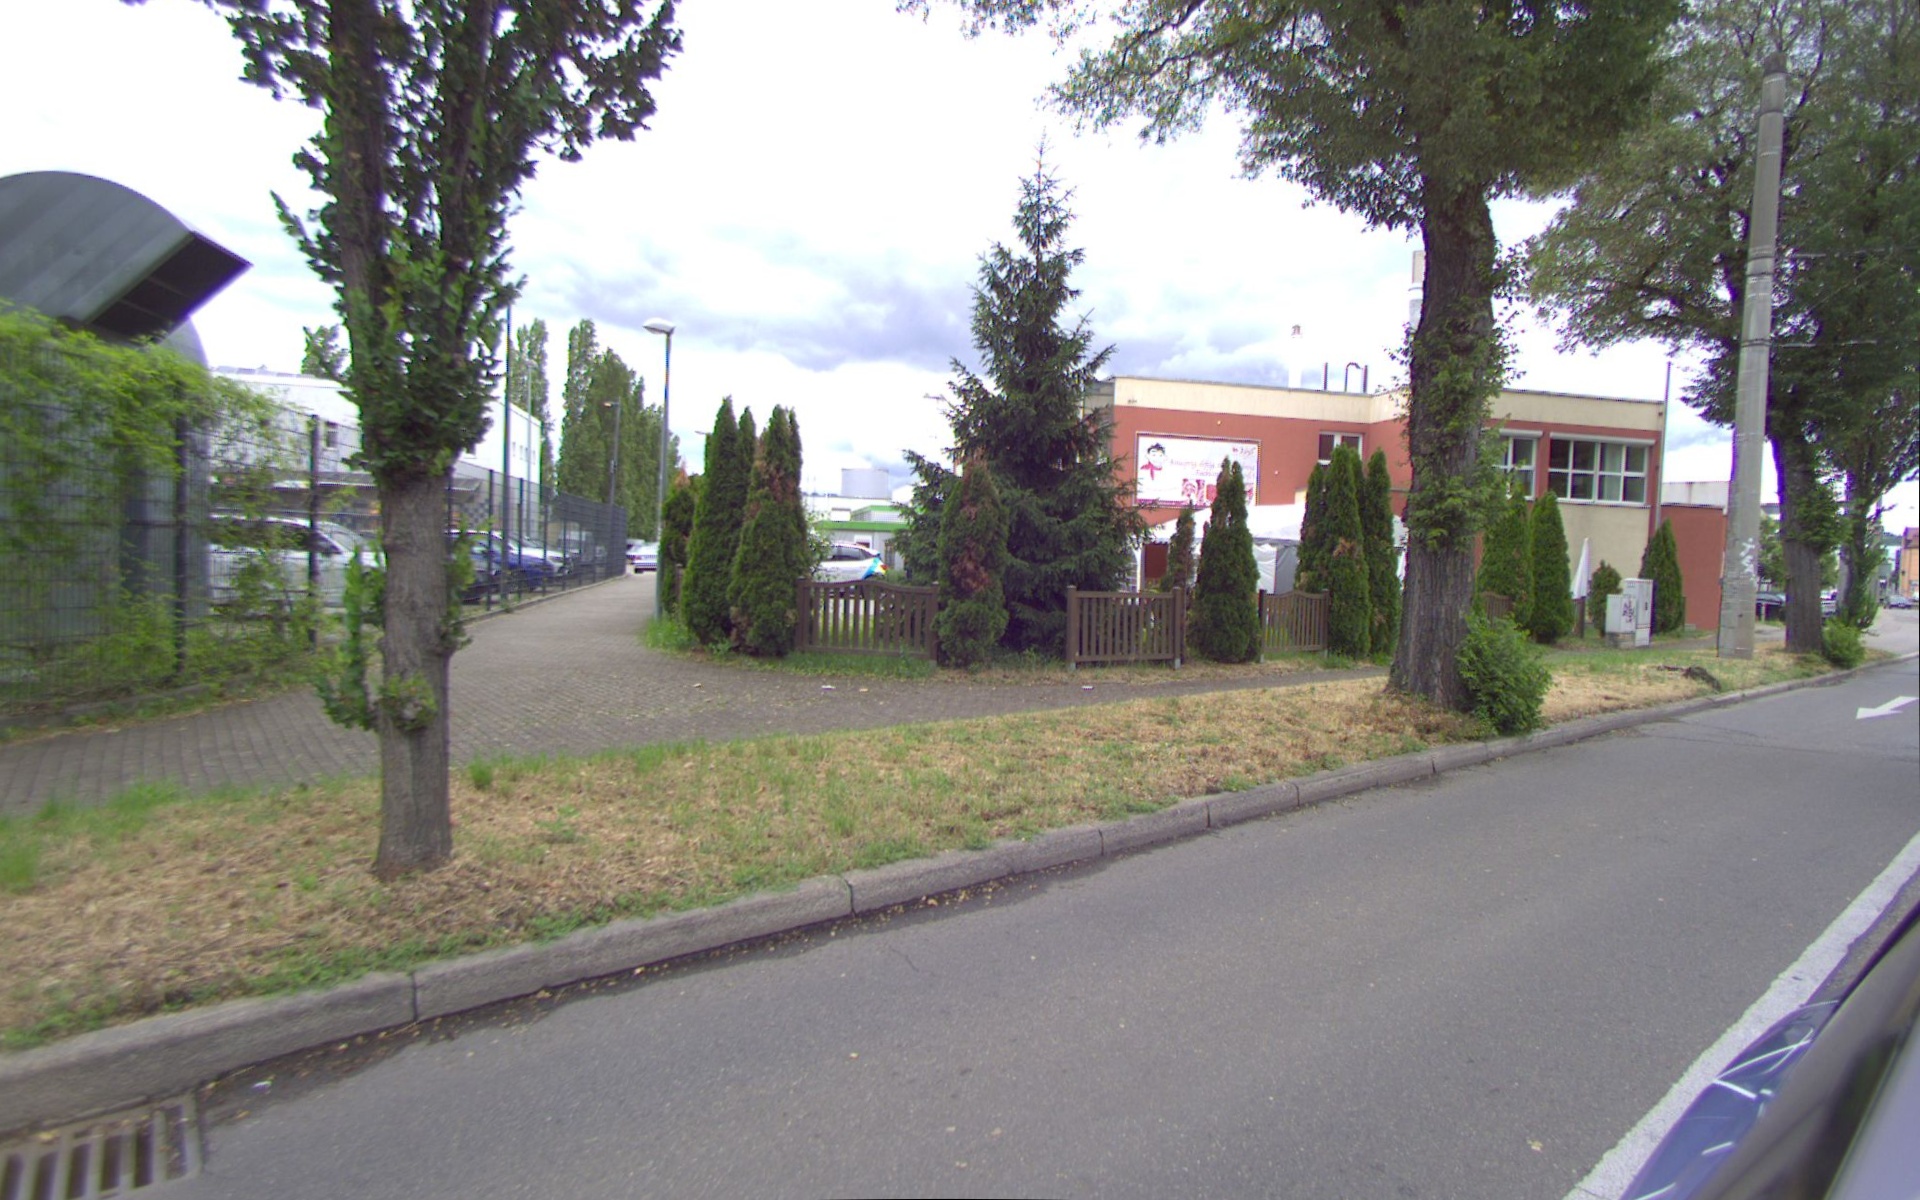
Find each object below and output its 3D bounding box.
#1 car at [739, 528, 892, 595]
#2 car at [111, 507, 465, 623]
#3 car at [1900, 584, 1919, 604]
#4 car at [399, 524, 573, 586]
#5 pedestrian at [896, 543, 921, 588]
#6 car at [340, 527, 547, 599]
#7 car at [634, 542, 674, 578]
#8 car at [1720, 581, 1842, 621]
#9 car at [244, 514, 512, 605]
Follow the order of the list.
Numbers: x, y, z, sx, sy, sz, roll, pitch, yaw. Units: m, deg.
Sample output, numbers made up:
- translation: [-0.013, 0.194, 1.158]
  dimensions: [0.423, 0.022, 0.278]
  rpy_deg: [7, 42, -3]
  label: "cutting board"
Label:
- translation: [-4.052, -1.037, 28.626]
  dimensions: [3.930, 1.772, 1.853]
  rpy_deg: [-1, 1, -41]
  label: "car"
- translation: [-10.758, -0.564, 16.586]
  dimensions: [4.407, 1.685, 2.005]
  rpy_deg: [1, 2, -13]
  label: "car"
- translation: [96.832, -0.640, 102.588]
  dimensions: [1.903, 1.737, 4.071]
  rpy_deg: [10, 9, 44]
  label: "car"
- translation: [-14.152, -1.354, 30.467]
  dimensions: [4.407, 1.685, 2.005]
  rpy_deg: [1, 2, -13]
  label: "car"
- translation: [-2.049, -1.369, 40.232]
  dimensions: [0.854, 1.784, 0.597]
  rpy_deg: [0, 0, 18]
  label: "pedestrian"
- translation: [-13.240, -0.948, 26.224]
  dimensions: [4.407, 1.685, 2.005]
  rpy_deg: [1, 2, -13]
  label: "car"
- translation: [-16.012, -2.076, 53.090]
  dimensions: [1.932, 1.738, 4.008]
  rpy_deg: [0, 1, -15]
  label: "car"
- translation: [35.389, 0.032, 43.679]
  dimensions: [3.987, 1.666, 1.866]
  rpy_deg: [0, 1, 44]
  label: "car"
- translation: [-11.836, -0.823, 20.903]
  dimensions: [4.407, 1.685, 2.005]
  rpy_deg: [1, 2, -13]
  label: "car"
